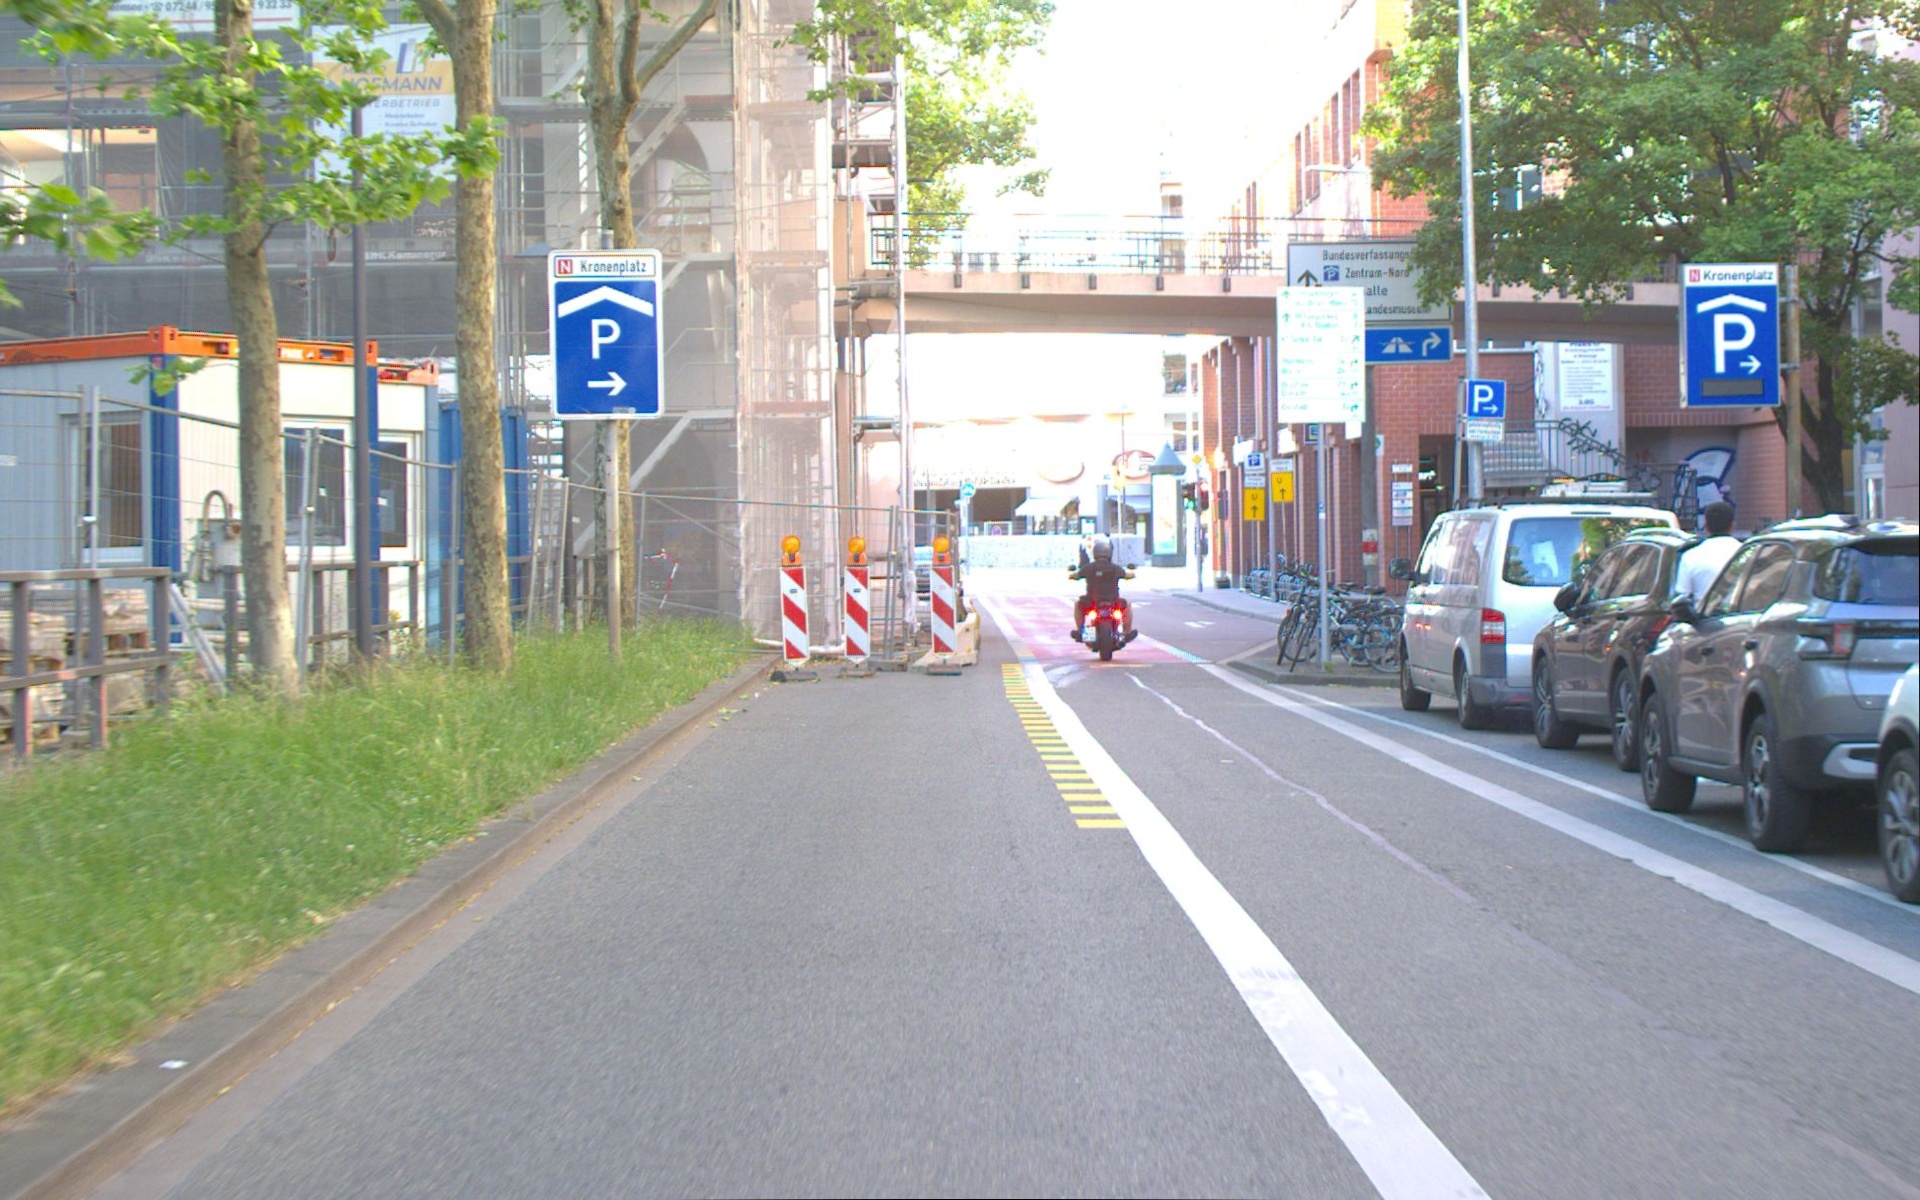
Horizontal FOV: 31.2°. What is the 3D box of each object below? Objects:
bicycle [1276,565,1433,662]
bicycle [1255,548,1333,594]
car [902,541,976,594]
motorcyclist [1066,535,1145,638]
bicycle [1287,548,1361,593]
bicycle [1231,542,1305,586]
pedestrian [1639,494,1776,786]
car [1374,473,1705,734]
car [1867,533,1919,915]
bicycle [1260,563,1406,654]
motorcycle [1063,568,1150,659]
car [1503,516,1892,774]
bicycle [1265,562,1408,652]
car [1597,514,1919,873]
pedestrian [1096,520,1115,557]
[{"bbox_3d":[4.427,0.146,38.640,1.679,1.064,0.511,0,1,23],"label":"bicycle"},{"bbox_3d":[8.422,-0.726,86.767,1.891,1.115,0.550,-1,1,0],"label":"bicycle"},{"bbox_3d":[-0.603,-0.924,95.536,1.923,1.384,4.001,-1,1,-2],"label":"car"},{"bbox_3d":[1.929,-0.182,45.760,0.970,1.342,1.138,0,1,-1],"label":"motorcyclist"},{"bbox_3d":[8.431,-0.679,79.666,1.611,0.951,0.555,-3,1,2],"label":"bicycle"},{"bbox_3d":[8.122,-0.943,90.685,1.891,1.115,0.475,-1,1,0],"label":"bicycle"},{"bbox_3d":[4.723,0.241,21.751,0.660,1.806,0.716,-1,1,-2],"label":"pedestrian"},{"bbox_3d":[4.966,-0.027,30.197,1.918,2.071,5.171,-1,1,-1],"label":"car"},{"bbox_3d":[4.890,0.531,12.913,1.828,1.573,4.000,-1,1,-1],"label":"car"},{"bbox_3d":[4.427,0.093,40.878,1.681,1.064,0.500,1,1,34],"label":"bicycle"},{"bbox_3d":[1.933,0.163,45.876,0.973,1.128,2.805,0,1,-1],"label":"motorcycle"},{"bbox_3d":[5.145,0.249,24.532,1.787,1.664,4.200,-1,1,-1],"label":"car"},{"bbox_3d":[4.555,0.076,41.642,1.681,1.064,0.500,1,1,34],"label":"bicycle"},{"bbox_3d":[4.739,0.382,18.264,1.787,1.664,4.441,-1,1,-1],"label":"car"},{"bbox_3d":[6.201,-2.608,146.398,0.539,1.578,0.557,-2,2,-43],"label":"pedestrian"}]
